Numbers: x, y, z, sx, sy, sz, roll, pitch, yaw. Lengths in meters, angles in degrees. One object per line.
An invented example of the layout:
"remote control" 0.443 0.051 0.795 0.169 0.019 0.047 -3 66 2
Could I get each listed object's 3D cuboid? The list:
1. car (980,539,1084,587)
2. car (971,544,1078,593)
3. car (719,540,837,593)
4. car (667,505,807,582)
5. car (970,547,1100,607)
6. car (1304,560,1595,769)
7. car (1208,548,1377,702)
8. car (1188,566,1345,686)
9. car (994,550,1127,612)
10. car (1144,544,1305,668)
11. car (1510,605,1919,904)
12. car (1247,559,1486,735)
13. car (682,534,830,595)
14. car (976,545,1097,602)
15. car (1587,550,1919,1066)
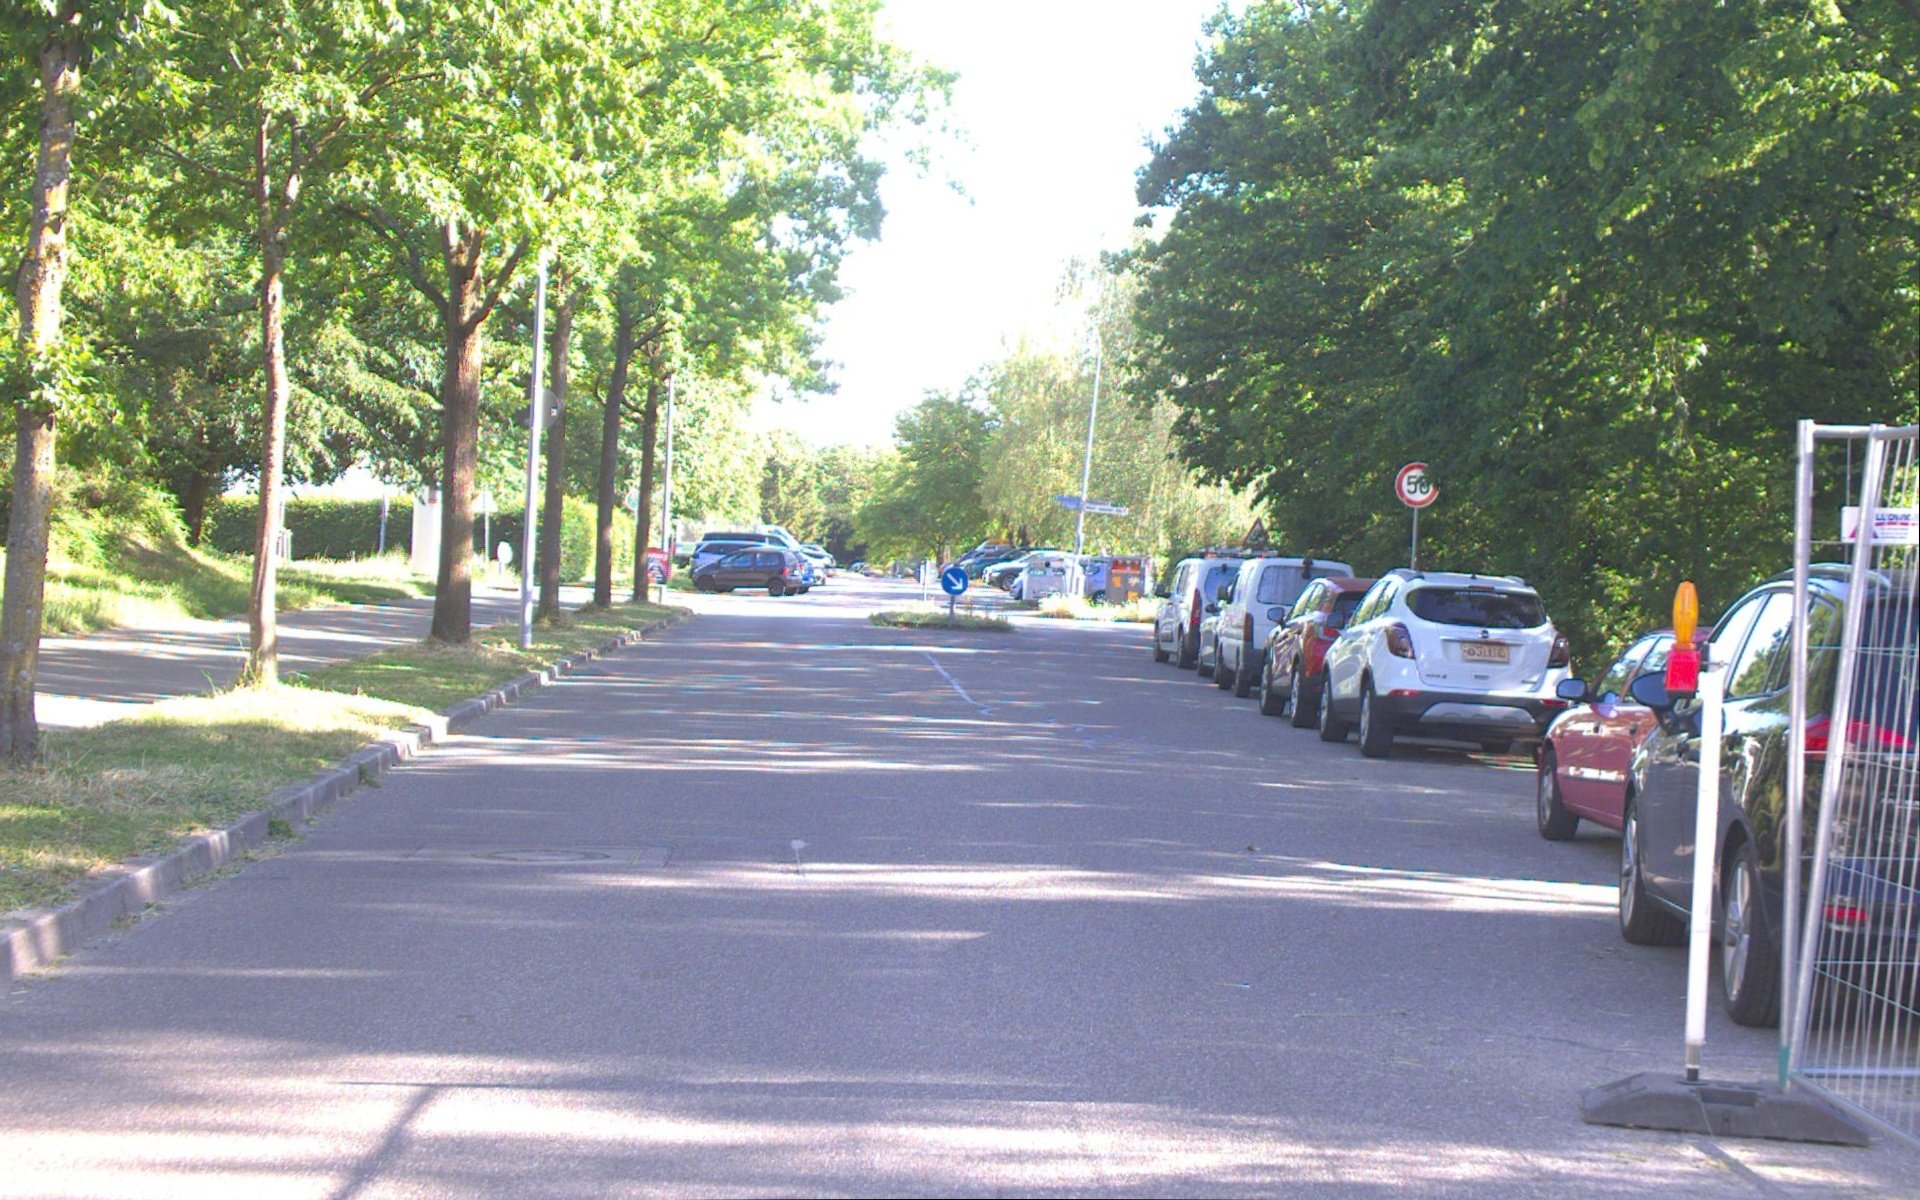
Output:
"car" 2.813 -1.434 133.486 3.839 1.571 1.688 5 1 4
"car" 2.447 -1.192 130.353 3.839 1.571 1.688 5 1 6
"car" -6.635 -1.225 125.635 4.107 1.571 1.958 5 1 1
"car" -8.729 -2.210 134.547 5.199 2.612 2.294 4 1 -6
"car" 2.370 -0.720 107.742 3.839 1.571 1.688 5 1 6
"car" 4.336 0.518 31.046 1.775 1.616 4.065 4 1 -2
"car" 4.231 0.282 44.193 1.623 1.767 3.669 4 1 -1
"car" 4.358 0.335 49.393 1.691 1.507 4.207 4 1 -1
"car" 3.083 -0.583 104.927 3.839 1.571 1.688 5 1 6
"car" 4.217 0.054 55.536 1.790 1.779 4.558 4 1 -4
"car" 4.429 0.812 19.794 1.661 1.371 4.155 4 1 -1
"car" 4.235 0.448 36.413 1.775 1.616 4.065 4 1 -2
"car" -6.472 -1.118 109.330 4.319 1.571 2.045 5 1 6
"car" 2.596 -0.890 115.550 3.839 1.571 1.688 5 1 6
"car" 3.705 0.711 13.355 1.810 1.645 4.420 5 1 3
